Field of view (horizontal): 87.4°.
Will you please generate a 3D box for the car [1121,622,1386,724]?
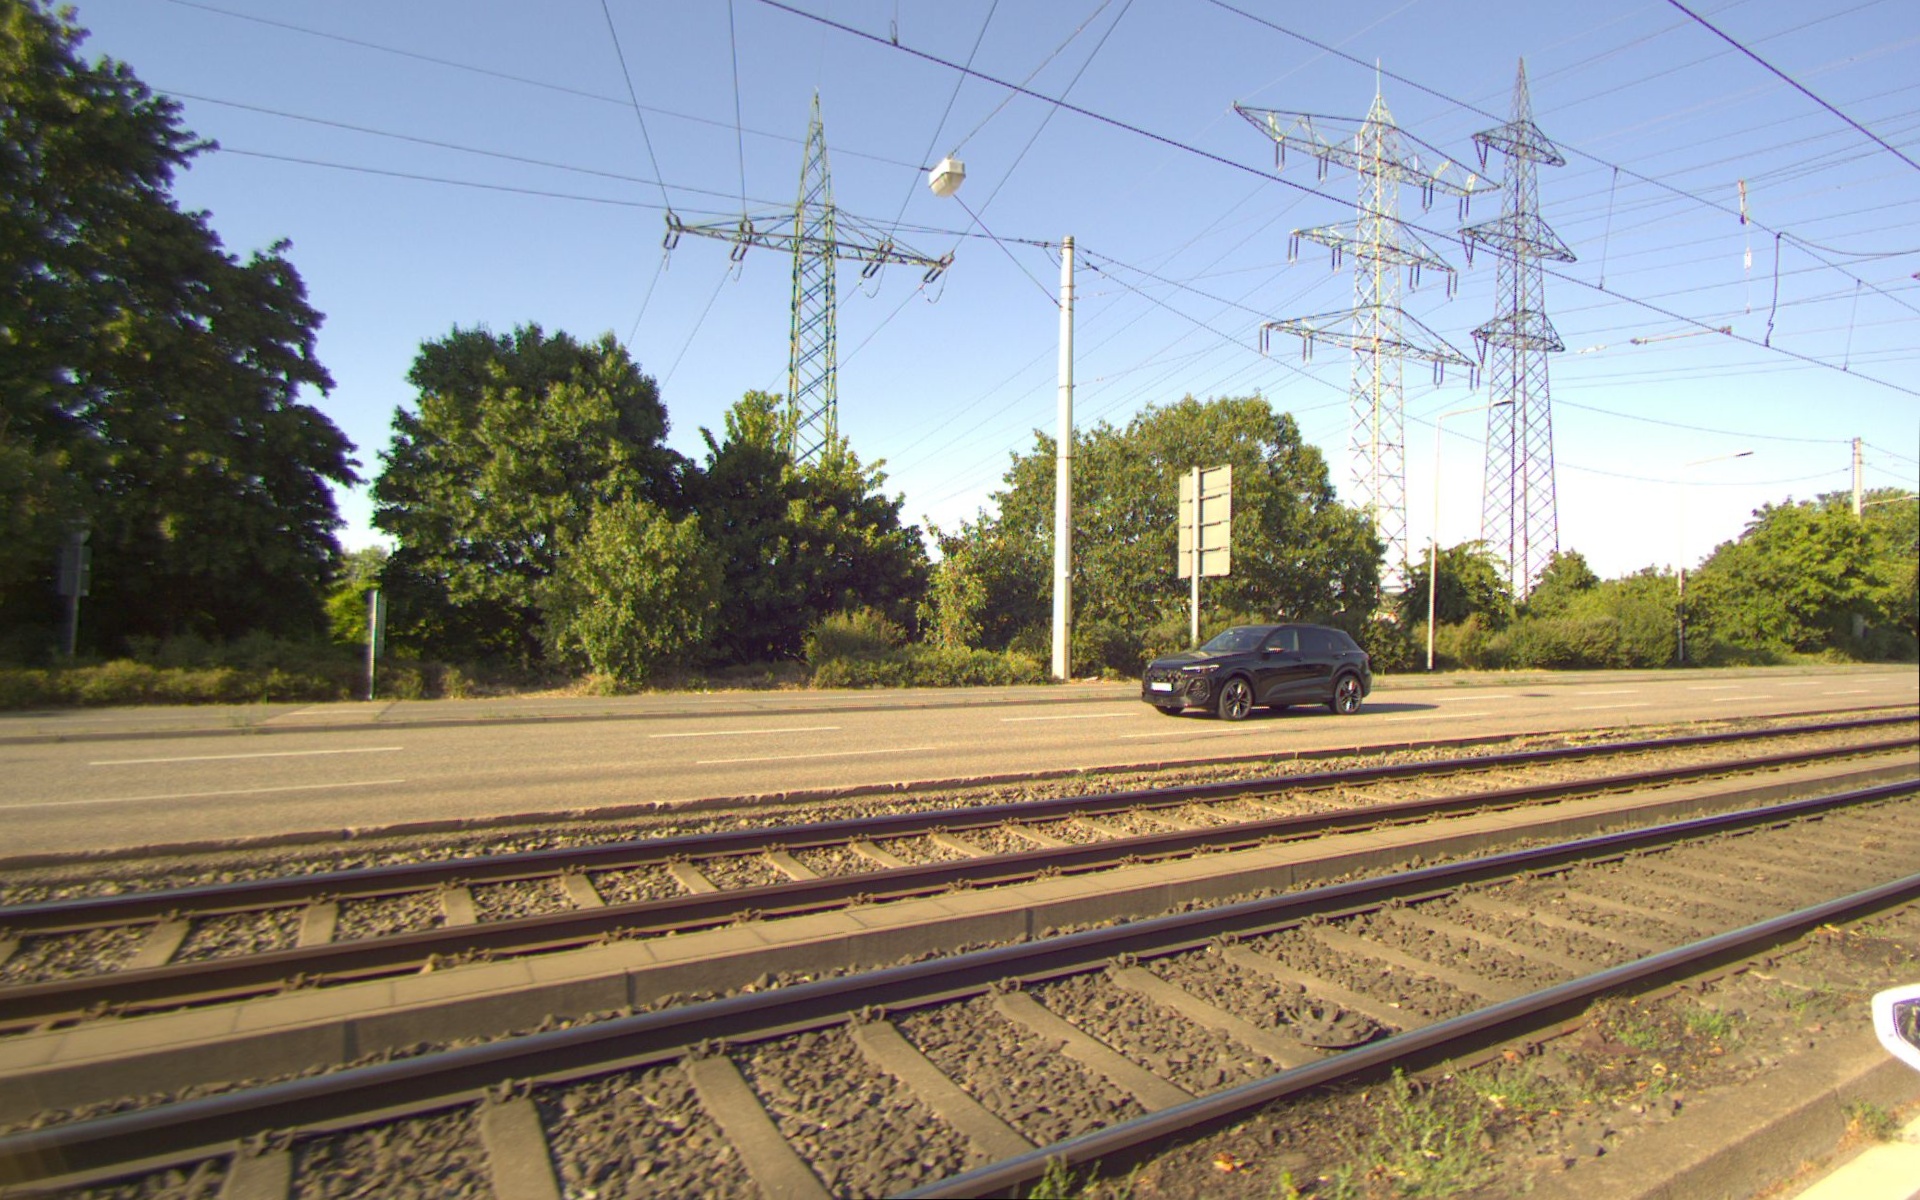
[{"bbox_3d":[5.367,1.271,18.257,4.627,1.646,1.985,2,-2,-29],"label":"car"}]
